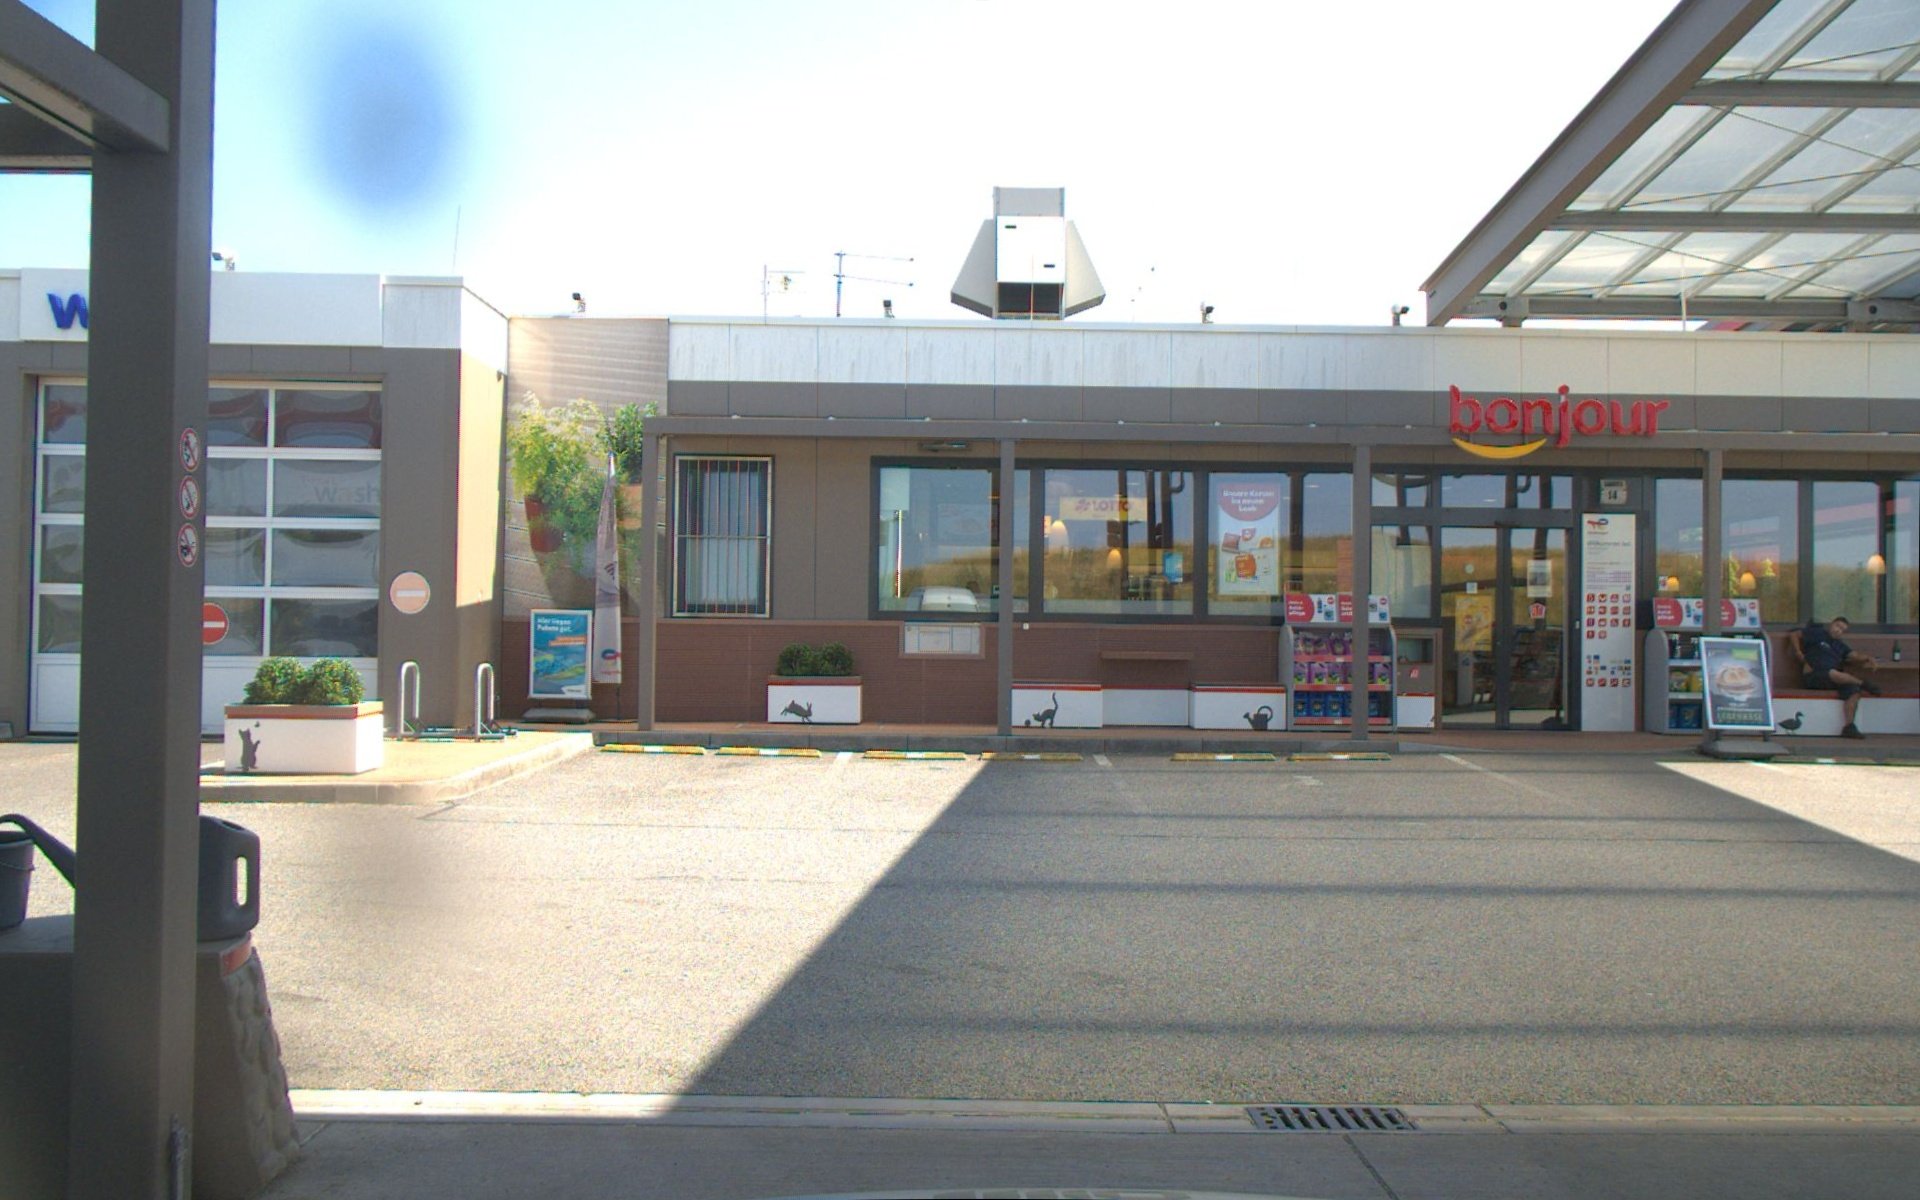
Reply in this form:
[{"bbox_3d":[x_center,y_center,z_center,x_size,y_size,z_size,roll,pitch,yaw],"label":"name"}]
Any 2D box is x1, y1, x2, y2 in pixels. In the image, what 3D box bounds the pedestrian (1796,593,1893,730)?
[{"bbox_3d":[9.561,0.655,17.893,0.687,1.457,0.672,0,0,-2],"label":"pedestrian"}]
